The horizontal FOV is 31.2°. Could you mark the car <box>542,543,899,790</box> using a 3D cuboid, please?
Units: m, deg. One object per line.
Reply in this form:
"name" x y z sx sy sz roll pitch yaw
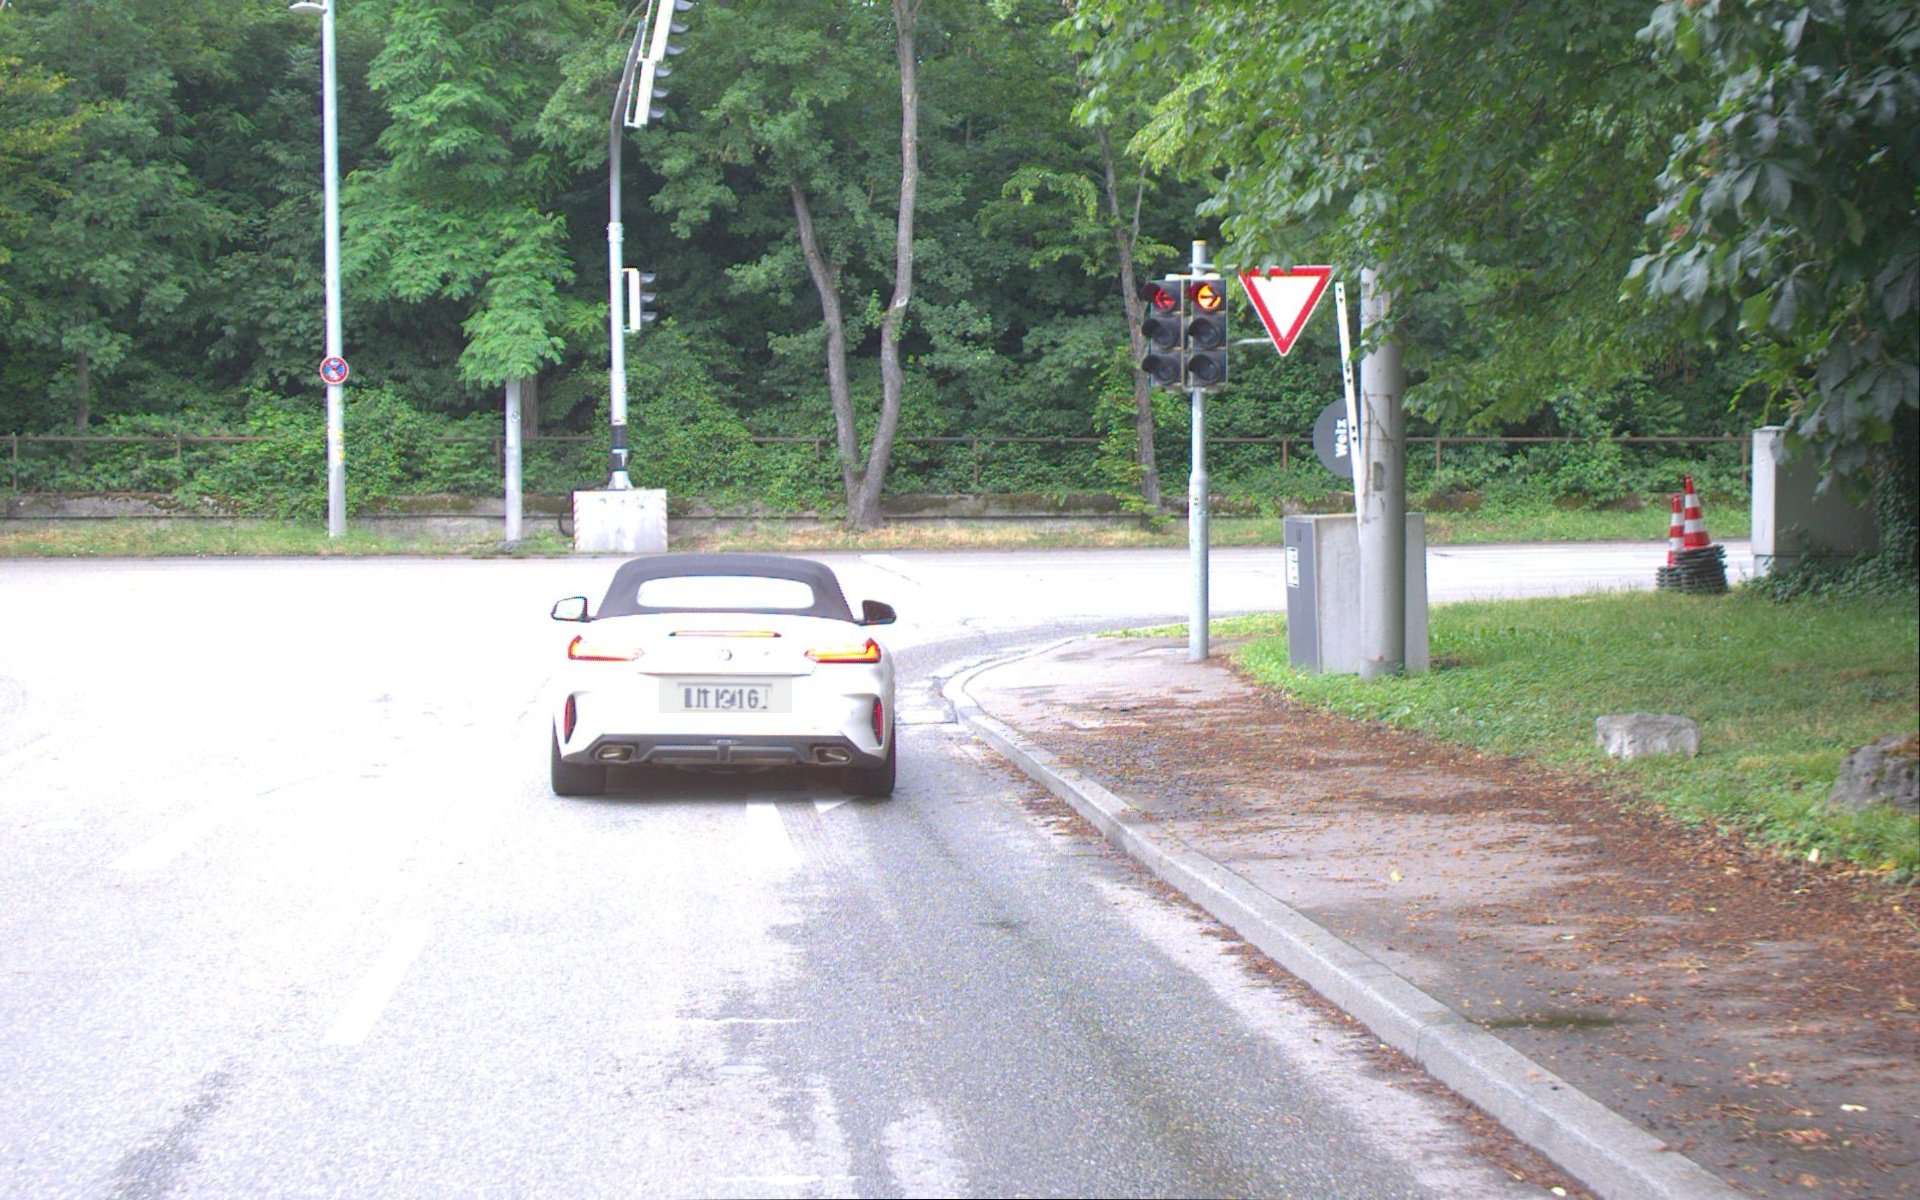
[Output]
"car" -1.452 0.353 19.763 1.827 1.253 4.001 1 0 -6
